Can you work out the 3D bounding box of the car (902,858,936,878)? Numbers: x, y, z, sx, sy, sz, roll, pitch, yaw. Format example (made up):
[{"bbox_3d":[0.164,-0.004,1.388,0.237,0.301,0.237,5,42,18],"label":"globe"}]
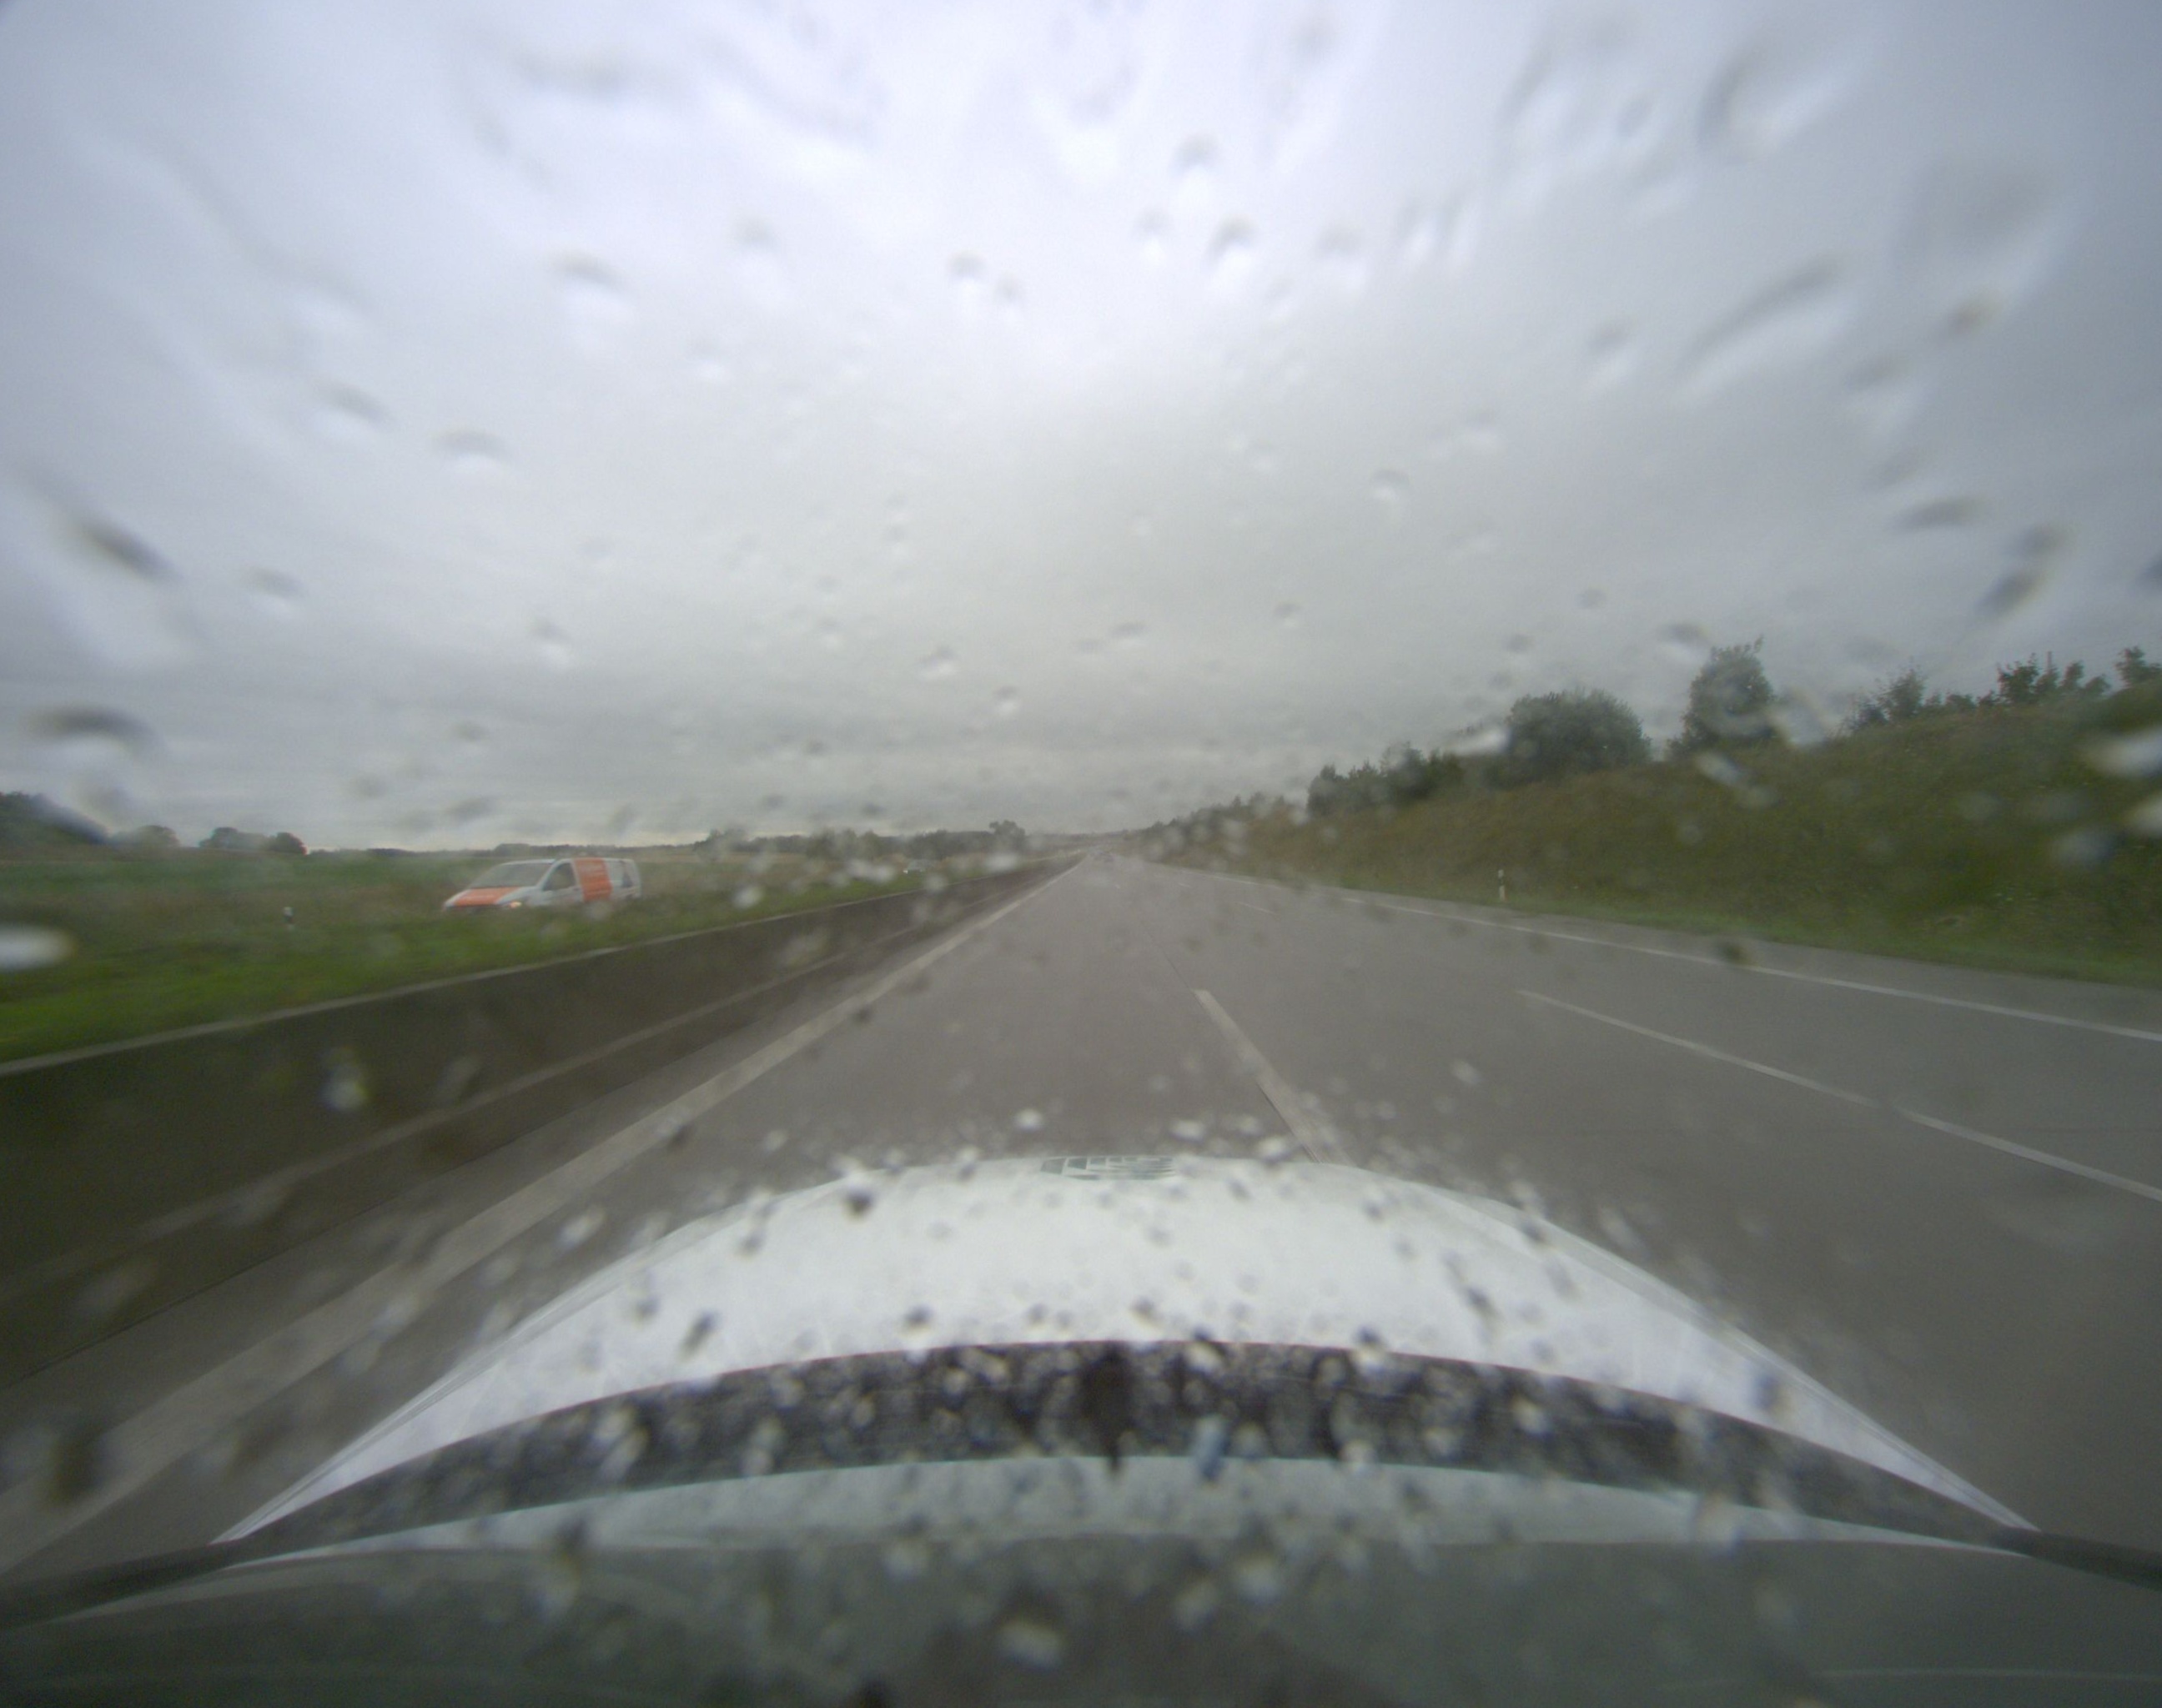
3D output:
[{"bbox_3d":[-12.208,1.030,61.730,1.596,1.387,4.623,-1,0,0],"label":"car"}]

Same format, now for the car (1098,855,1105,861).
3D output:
[{"bbox_3d":[4.766,0.934,188.753,1.723,1.331,4.432,-1,1,2],"label":"car"}]

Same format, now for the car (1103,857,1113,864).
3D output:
[{"bbox_3d":[5.423,1.348,163.760,1.842,1.331,4.429,-1,1,0],"label":"car"}]

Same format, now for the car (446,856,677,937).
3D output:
[{"bbox_3d":[-13.061,0.949,21.111,2.102,1.631,5.852,-2,1,1],"label":"car"}]
